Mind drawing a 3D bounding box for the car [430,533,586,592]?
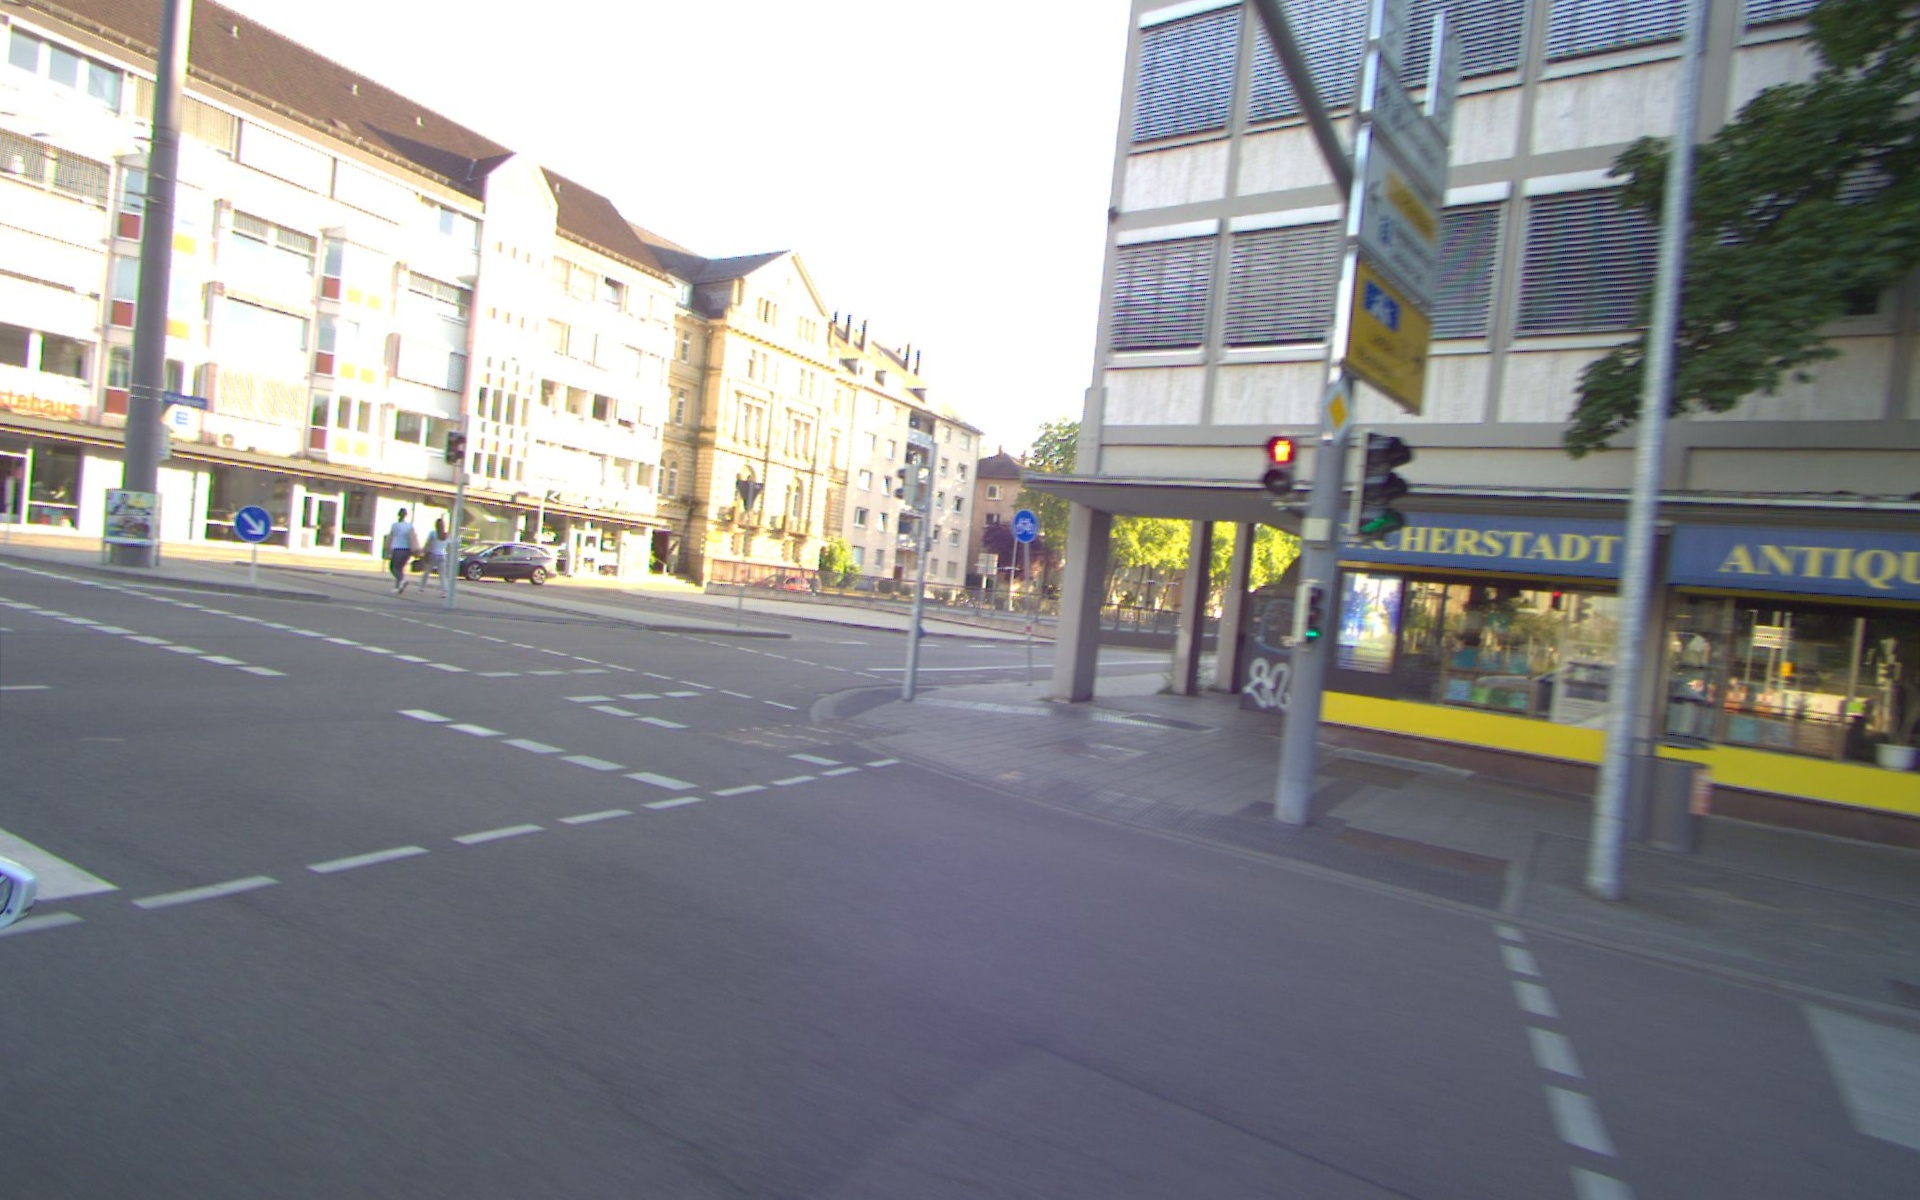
[{"bbox_3d":[-16.297,-1.329,36.483,2.190,1.575,4.593,6,0,38],"label":"car"}]

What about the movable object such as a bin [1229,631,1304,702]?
[{"bbox_3d":[6.414,1.384,21.028,0.946,1.344,1.408,7,2,38],"label":"movable object such as a bin"}]

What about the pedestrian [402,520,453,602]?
[{"bbox_3d":[-11.036,-0.806,20.877,0.695,1.603,0.822,5,2,-20],"label":"pedestrian"}]

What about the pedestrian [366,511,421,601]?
[{"bbox_3d":[-11.203,-0.870,19.909,0.717,1.670,0.768,5,2,-20],"label":"pedestrian"}]

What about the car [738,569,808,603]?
[{"bbox_3d":[-10.226,-0.751,55.310,1.621,1.440,3.890,6,0,28],"label":"car"}]
